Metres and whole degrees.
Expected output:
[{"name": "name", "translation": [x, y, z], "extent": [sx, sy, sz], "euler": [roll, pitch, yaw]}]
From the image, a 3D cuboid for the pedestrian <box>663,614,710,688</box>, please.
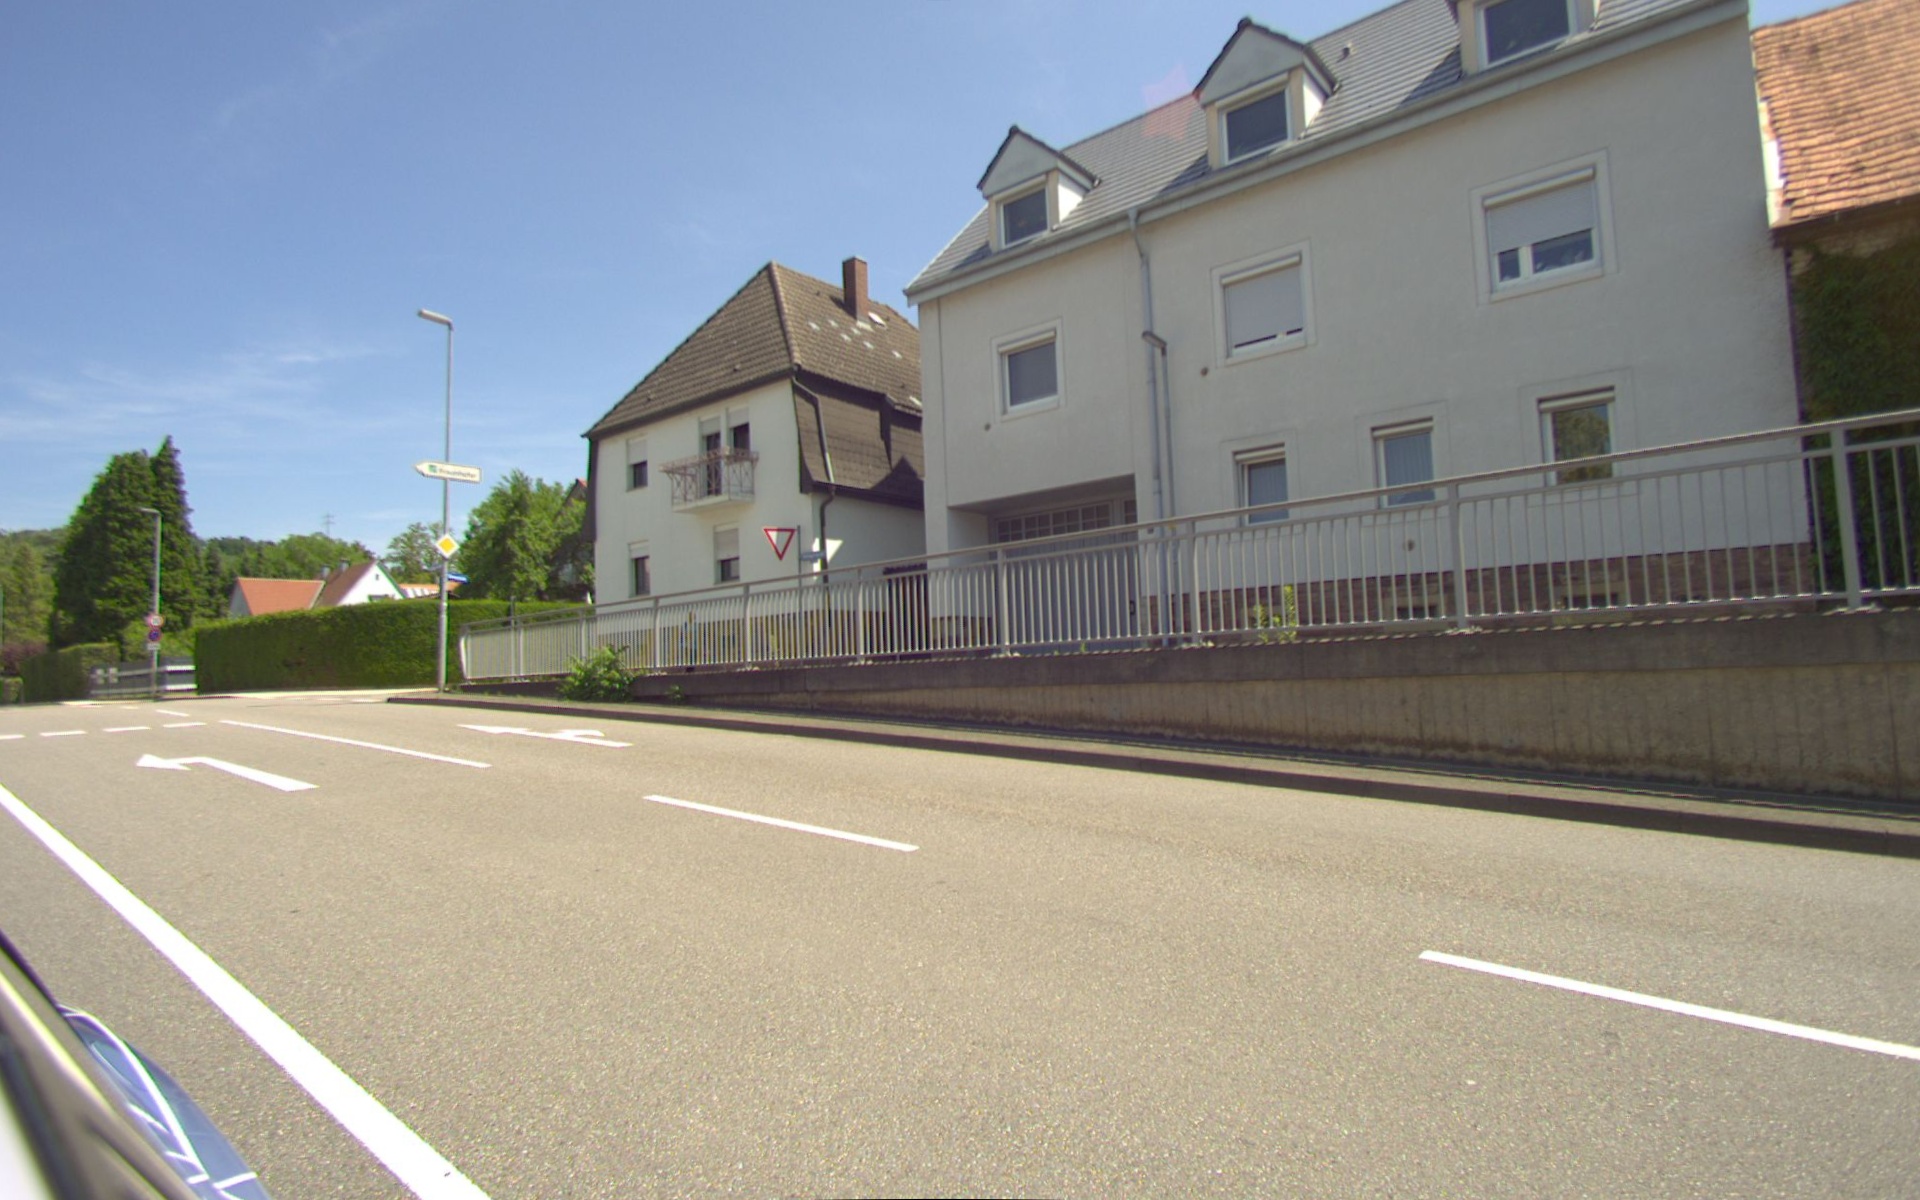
[{"name": "pedestrian", "translation": [-6.604, 1.220, 24.455], "extent": [0.855, 1.742, 0.720], "euler": [-2, -2, 38]}]
